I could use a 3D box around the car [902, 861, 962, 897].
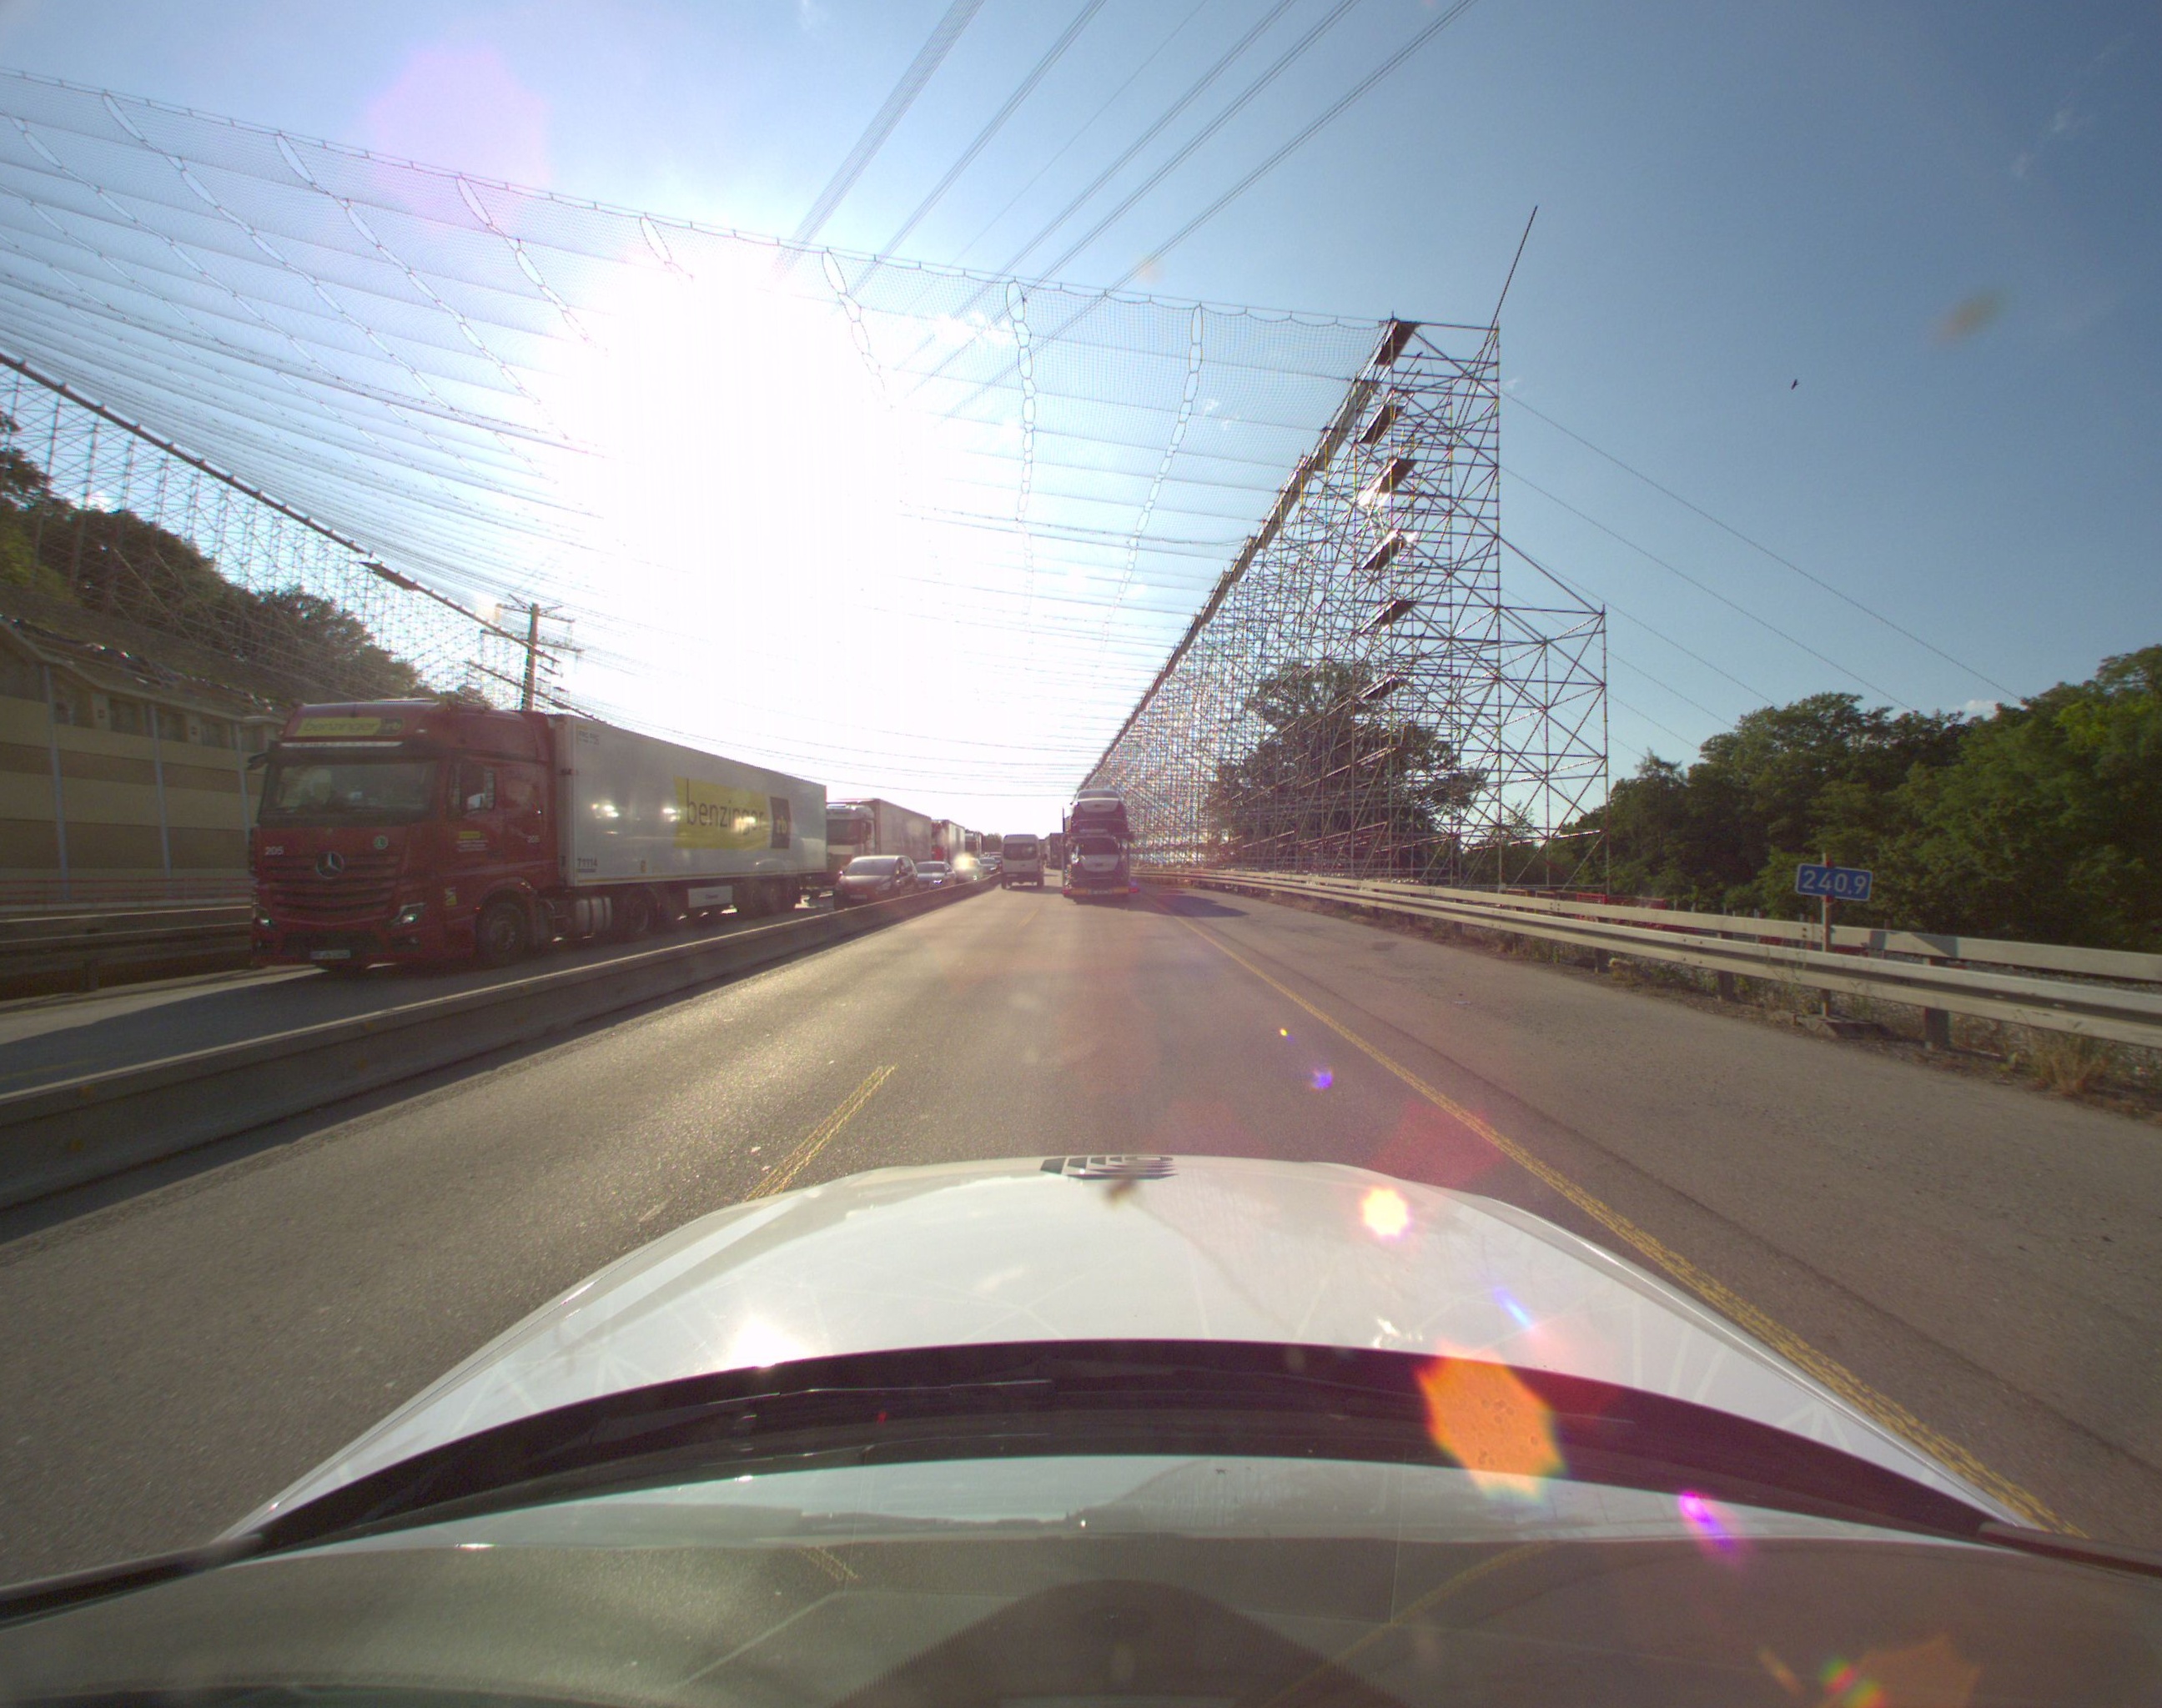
[{"bbox_3d":[-6.326,1.023,35.068,1.726,1.377,4.889,1,0,-1],"label":"car"}]

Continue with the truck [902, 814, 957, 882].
[{"bbox_3d":[-9.846,-0.345,53.497,2.782,4.141,6.668,-1,-1,-4],"label":"truck"}]

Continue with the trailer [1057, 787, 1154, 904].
[{"bbox_3d":[0.563,-0.206,33.678,2.862,3.725,14.932,-1,0,-2],"label":"trailer"}]

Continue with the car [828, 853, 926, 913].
[{"bbox_3d":[-6.199,0.816,25.297,1.746,1.657,4.863,-1,0,1],"label":"car"}]

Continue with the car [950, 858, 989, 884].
[{"bbox_3d":[-6.671,0.978,49.111,1.727,1.439,4.836,1,0,-1],"label":"car"}]

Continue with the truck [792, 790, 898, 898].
[{"bbox_3d":[-9.759,-0.362,34.354,2.779,4.141,5.930,-1,-1,-1],"label":"truck"}]

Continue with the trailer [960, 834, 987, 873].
[{"bbox_3d":[-12.338,-0.045,94.023,2.650,4.233,13.890,0,0,-6],"label":"trailer"}]

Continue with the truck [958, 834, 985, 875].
[{"bbox_3d":[-11.640,0.037,87.271,2.660,4.230,6.090,-1,0,-7],"label":"truck"}]

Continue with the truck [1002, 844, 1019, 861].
[{"bbox_3d":[-15.808,-0.272,182.626,2.618,3.723,9.620,0,0,-12],"label":"truck"}]

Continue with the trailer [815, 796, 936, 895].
[{"bbox_3d":[-9.890,-0.300,41.211,2.791,4.141,13.958,-1,0,-1],"label":"trailer"}]

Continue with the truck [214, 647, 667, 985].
[{"bbox_3d":[-9.734,-0.476,13.421,2.736,4.300,5.932,-1,-1,0],"label":"truck"}]

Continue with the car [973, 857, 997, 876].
[{"bbox_3d":[-7.588,0.945,64.525,1.647,1.464,4.393,0,0,-4],"label":"car"}]

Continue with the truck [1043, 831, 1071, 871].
[{"bbox_3d":[-2.892,-0.364,94.210,2.727,4.385,11.503,0,0,-4],"label":"truck"}]

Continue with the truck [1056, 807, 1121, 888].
[{"bbox_3d":[0.236,-0.258,41.373,2.875,3.702,7.317,-1,-1,-3],"label":"truck"}]

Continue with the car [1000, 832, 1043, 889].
[{"bbox_3d":[-2.904,0.320,40.165,1.952,2.621,3.995,-2,-1,-4],"label":"car"}]

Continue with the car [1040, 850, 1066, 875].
[{"bbox_3d":[-2.273,0.680,66.985,1.987,2.014,3.999,0,-1,0],"label":"car"}]

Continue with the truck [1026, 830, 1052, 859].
[{"bbox_3d":[-6.885,-1.444,132.687,3.679,4.220,13.651,-4,0,-3],"label":"truck"}]

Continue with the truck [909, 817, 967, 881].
[{"bbox_3d":[-10.329,-0.291,60.205,2.782,4.141,13.786,-1,0,-4],"label":"truck"}]

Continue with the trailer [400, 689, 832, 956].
[{"bbox_3d":[-9.744,-0.475,20.278,2.757,4.334,13.877,-1,0,0],"label":"trailer"}]
